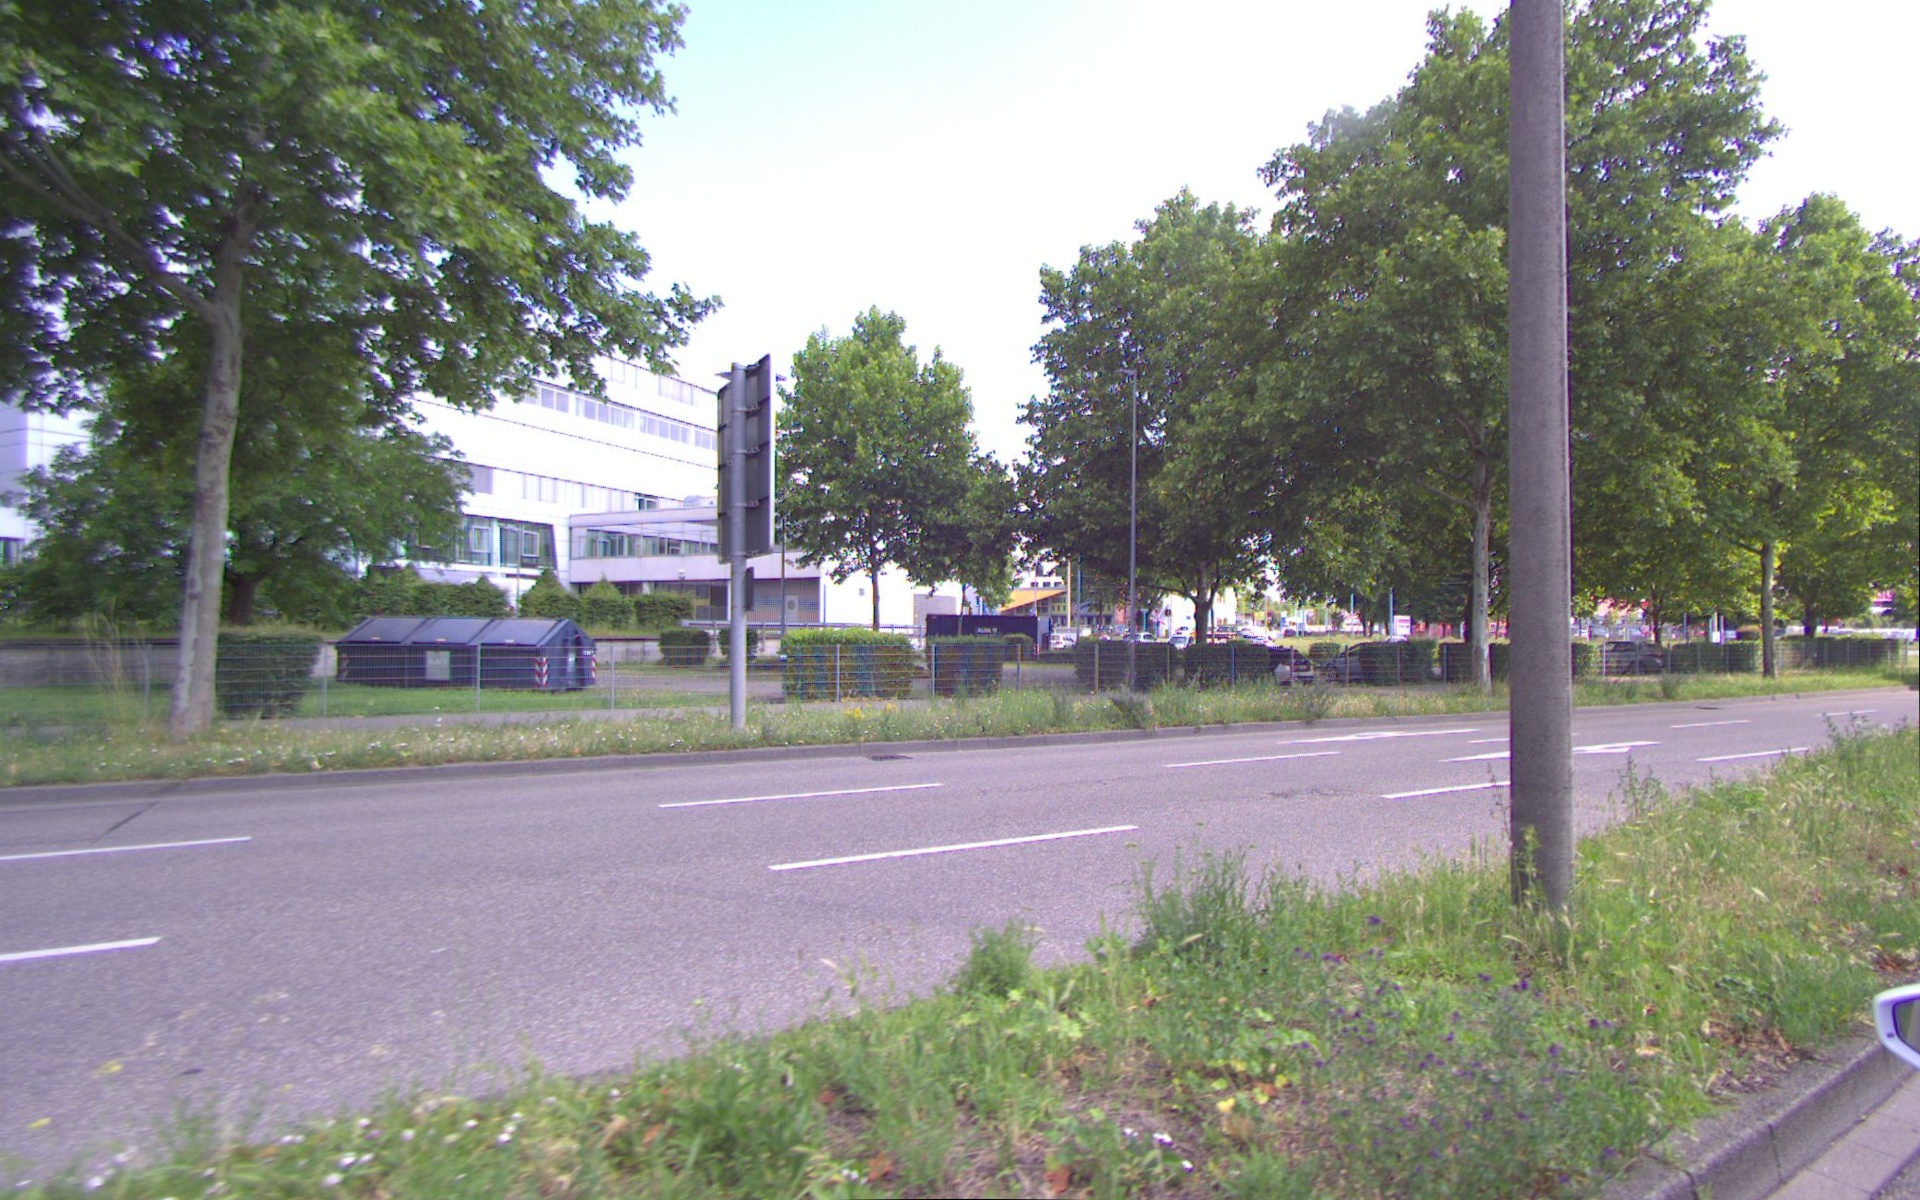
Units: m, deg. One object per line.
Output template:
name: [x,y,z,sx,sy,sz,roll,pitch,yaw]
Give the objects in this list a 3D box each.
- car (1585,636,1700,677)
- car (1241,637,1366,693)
car: [31.548,2.596,46.512,1.875,1.616,3.971,5,-3,-28]
car: [11.709,2.220,34.232,3.955,1.616,1.883,5,-3,-30]
